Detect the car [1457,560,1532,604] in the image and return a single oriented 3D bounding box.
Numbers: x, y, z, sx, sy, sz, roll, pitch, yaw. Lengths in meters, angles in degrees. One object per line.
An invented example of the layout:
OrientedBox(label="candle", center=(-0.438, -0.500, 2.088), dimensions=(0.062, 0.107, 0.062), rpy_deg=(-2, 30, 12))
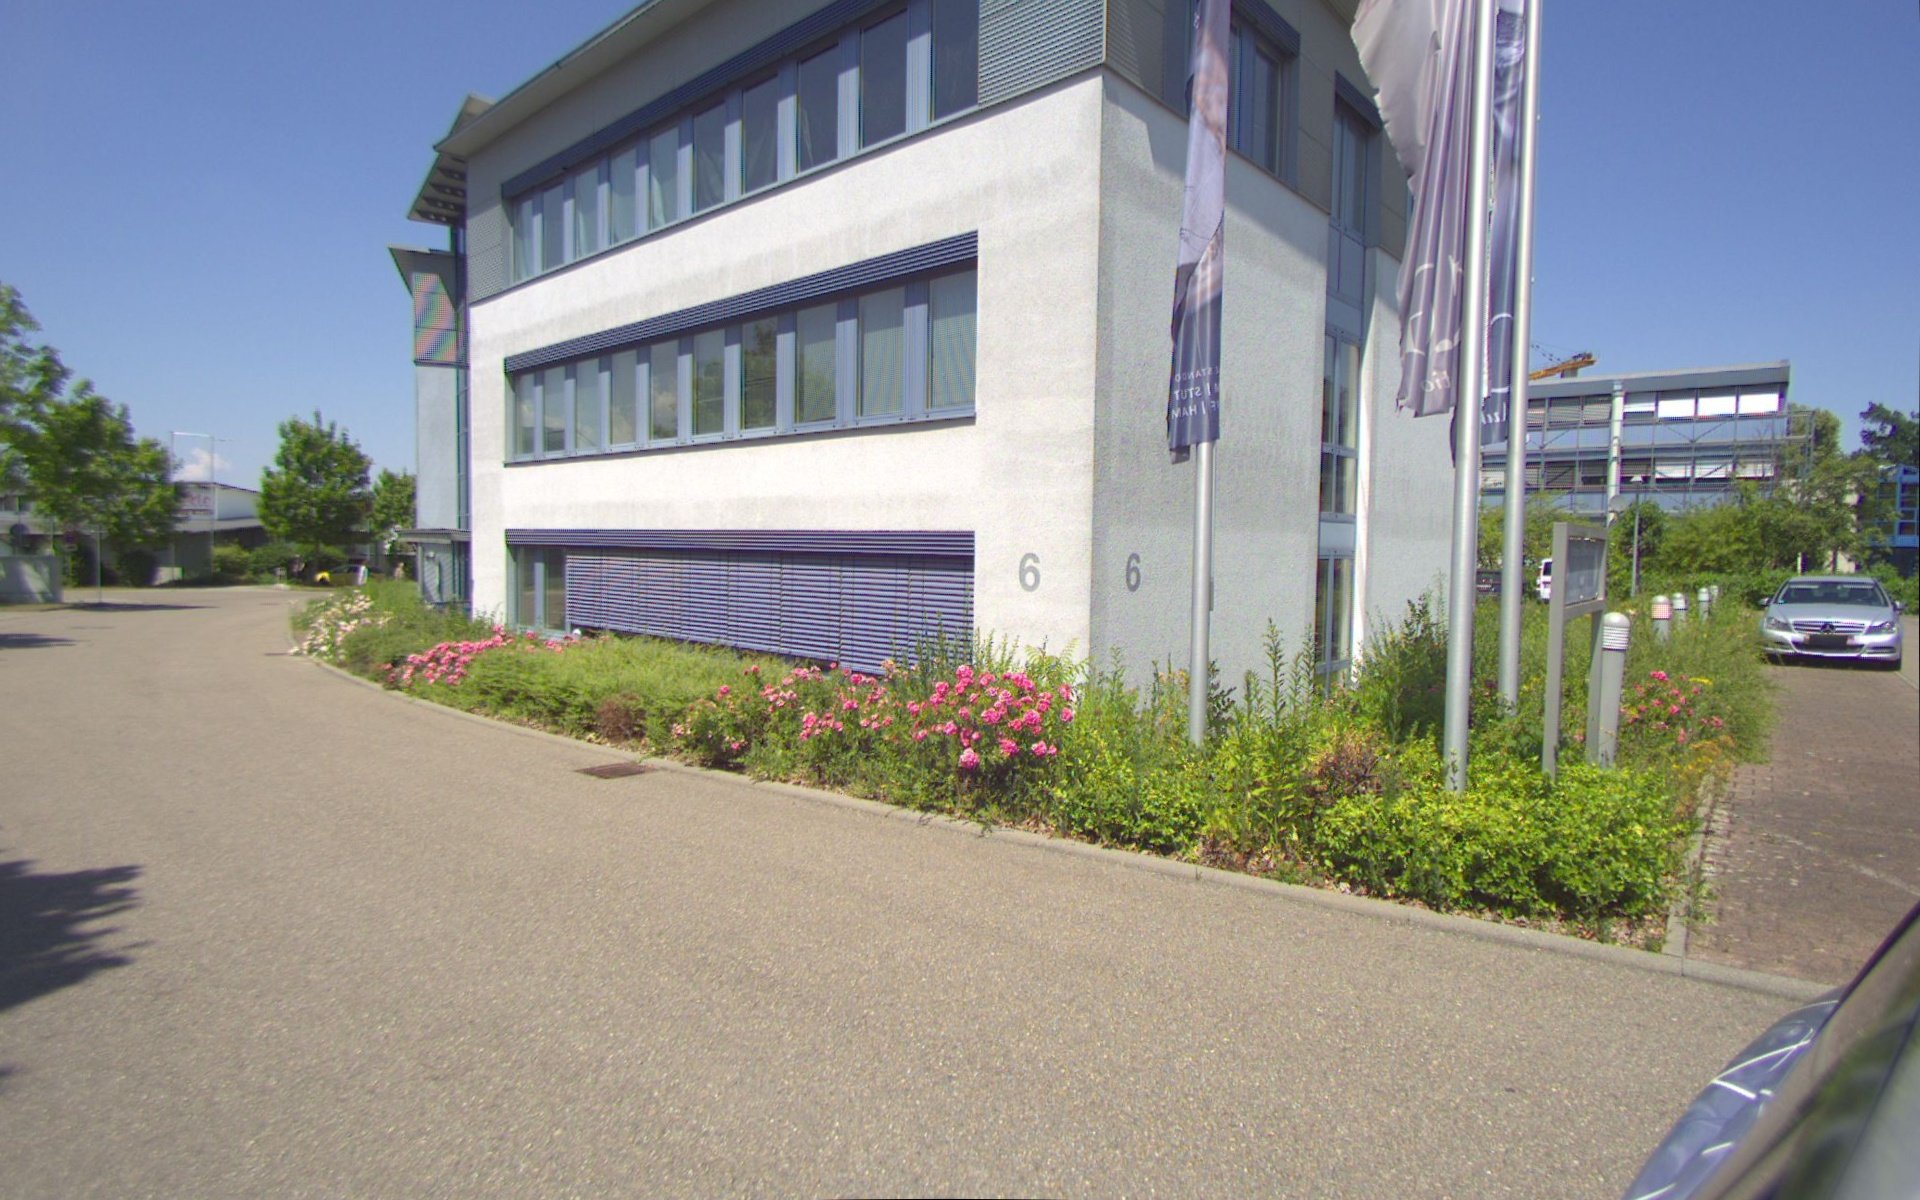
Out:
OrientedBox(label="car", center=(20.274, -0.723, 38.320), dimensions=(1.780, 1.565, 3.944), rpy_deg=(1, 3, 39))

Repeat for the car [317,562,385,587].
OrientedBox(label="car", center=(-36.792, -1.566, 61.160), dimensions=(3.157, 1.460, 1.589), rpy_deg=(0, 2, 3))

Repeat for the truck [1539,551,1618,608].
OrientedBox(label="truck", center=(22.025, -0.764, 35.977), dimensions=(1.989, 1.917, 3.947), rpy_deg=(1, 2, 38))

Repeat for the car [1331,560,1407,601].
OrientedBox(label="car", center=(16.749, -0.822, 41.362), dimensions=(1.780, 1.565, 3.944), rpy_deg=(1, 3, 39))

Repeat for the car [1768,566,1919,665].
OrientedBox(label="car", center=(14.703, 0.170, 16.839), dimensions=(1.706, 1.408, 3.753), rpy_deg=(3, 3, 42))
